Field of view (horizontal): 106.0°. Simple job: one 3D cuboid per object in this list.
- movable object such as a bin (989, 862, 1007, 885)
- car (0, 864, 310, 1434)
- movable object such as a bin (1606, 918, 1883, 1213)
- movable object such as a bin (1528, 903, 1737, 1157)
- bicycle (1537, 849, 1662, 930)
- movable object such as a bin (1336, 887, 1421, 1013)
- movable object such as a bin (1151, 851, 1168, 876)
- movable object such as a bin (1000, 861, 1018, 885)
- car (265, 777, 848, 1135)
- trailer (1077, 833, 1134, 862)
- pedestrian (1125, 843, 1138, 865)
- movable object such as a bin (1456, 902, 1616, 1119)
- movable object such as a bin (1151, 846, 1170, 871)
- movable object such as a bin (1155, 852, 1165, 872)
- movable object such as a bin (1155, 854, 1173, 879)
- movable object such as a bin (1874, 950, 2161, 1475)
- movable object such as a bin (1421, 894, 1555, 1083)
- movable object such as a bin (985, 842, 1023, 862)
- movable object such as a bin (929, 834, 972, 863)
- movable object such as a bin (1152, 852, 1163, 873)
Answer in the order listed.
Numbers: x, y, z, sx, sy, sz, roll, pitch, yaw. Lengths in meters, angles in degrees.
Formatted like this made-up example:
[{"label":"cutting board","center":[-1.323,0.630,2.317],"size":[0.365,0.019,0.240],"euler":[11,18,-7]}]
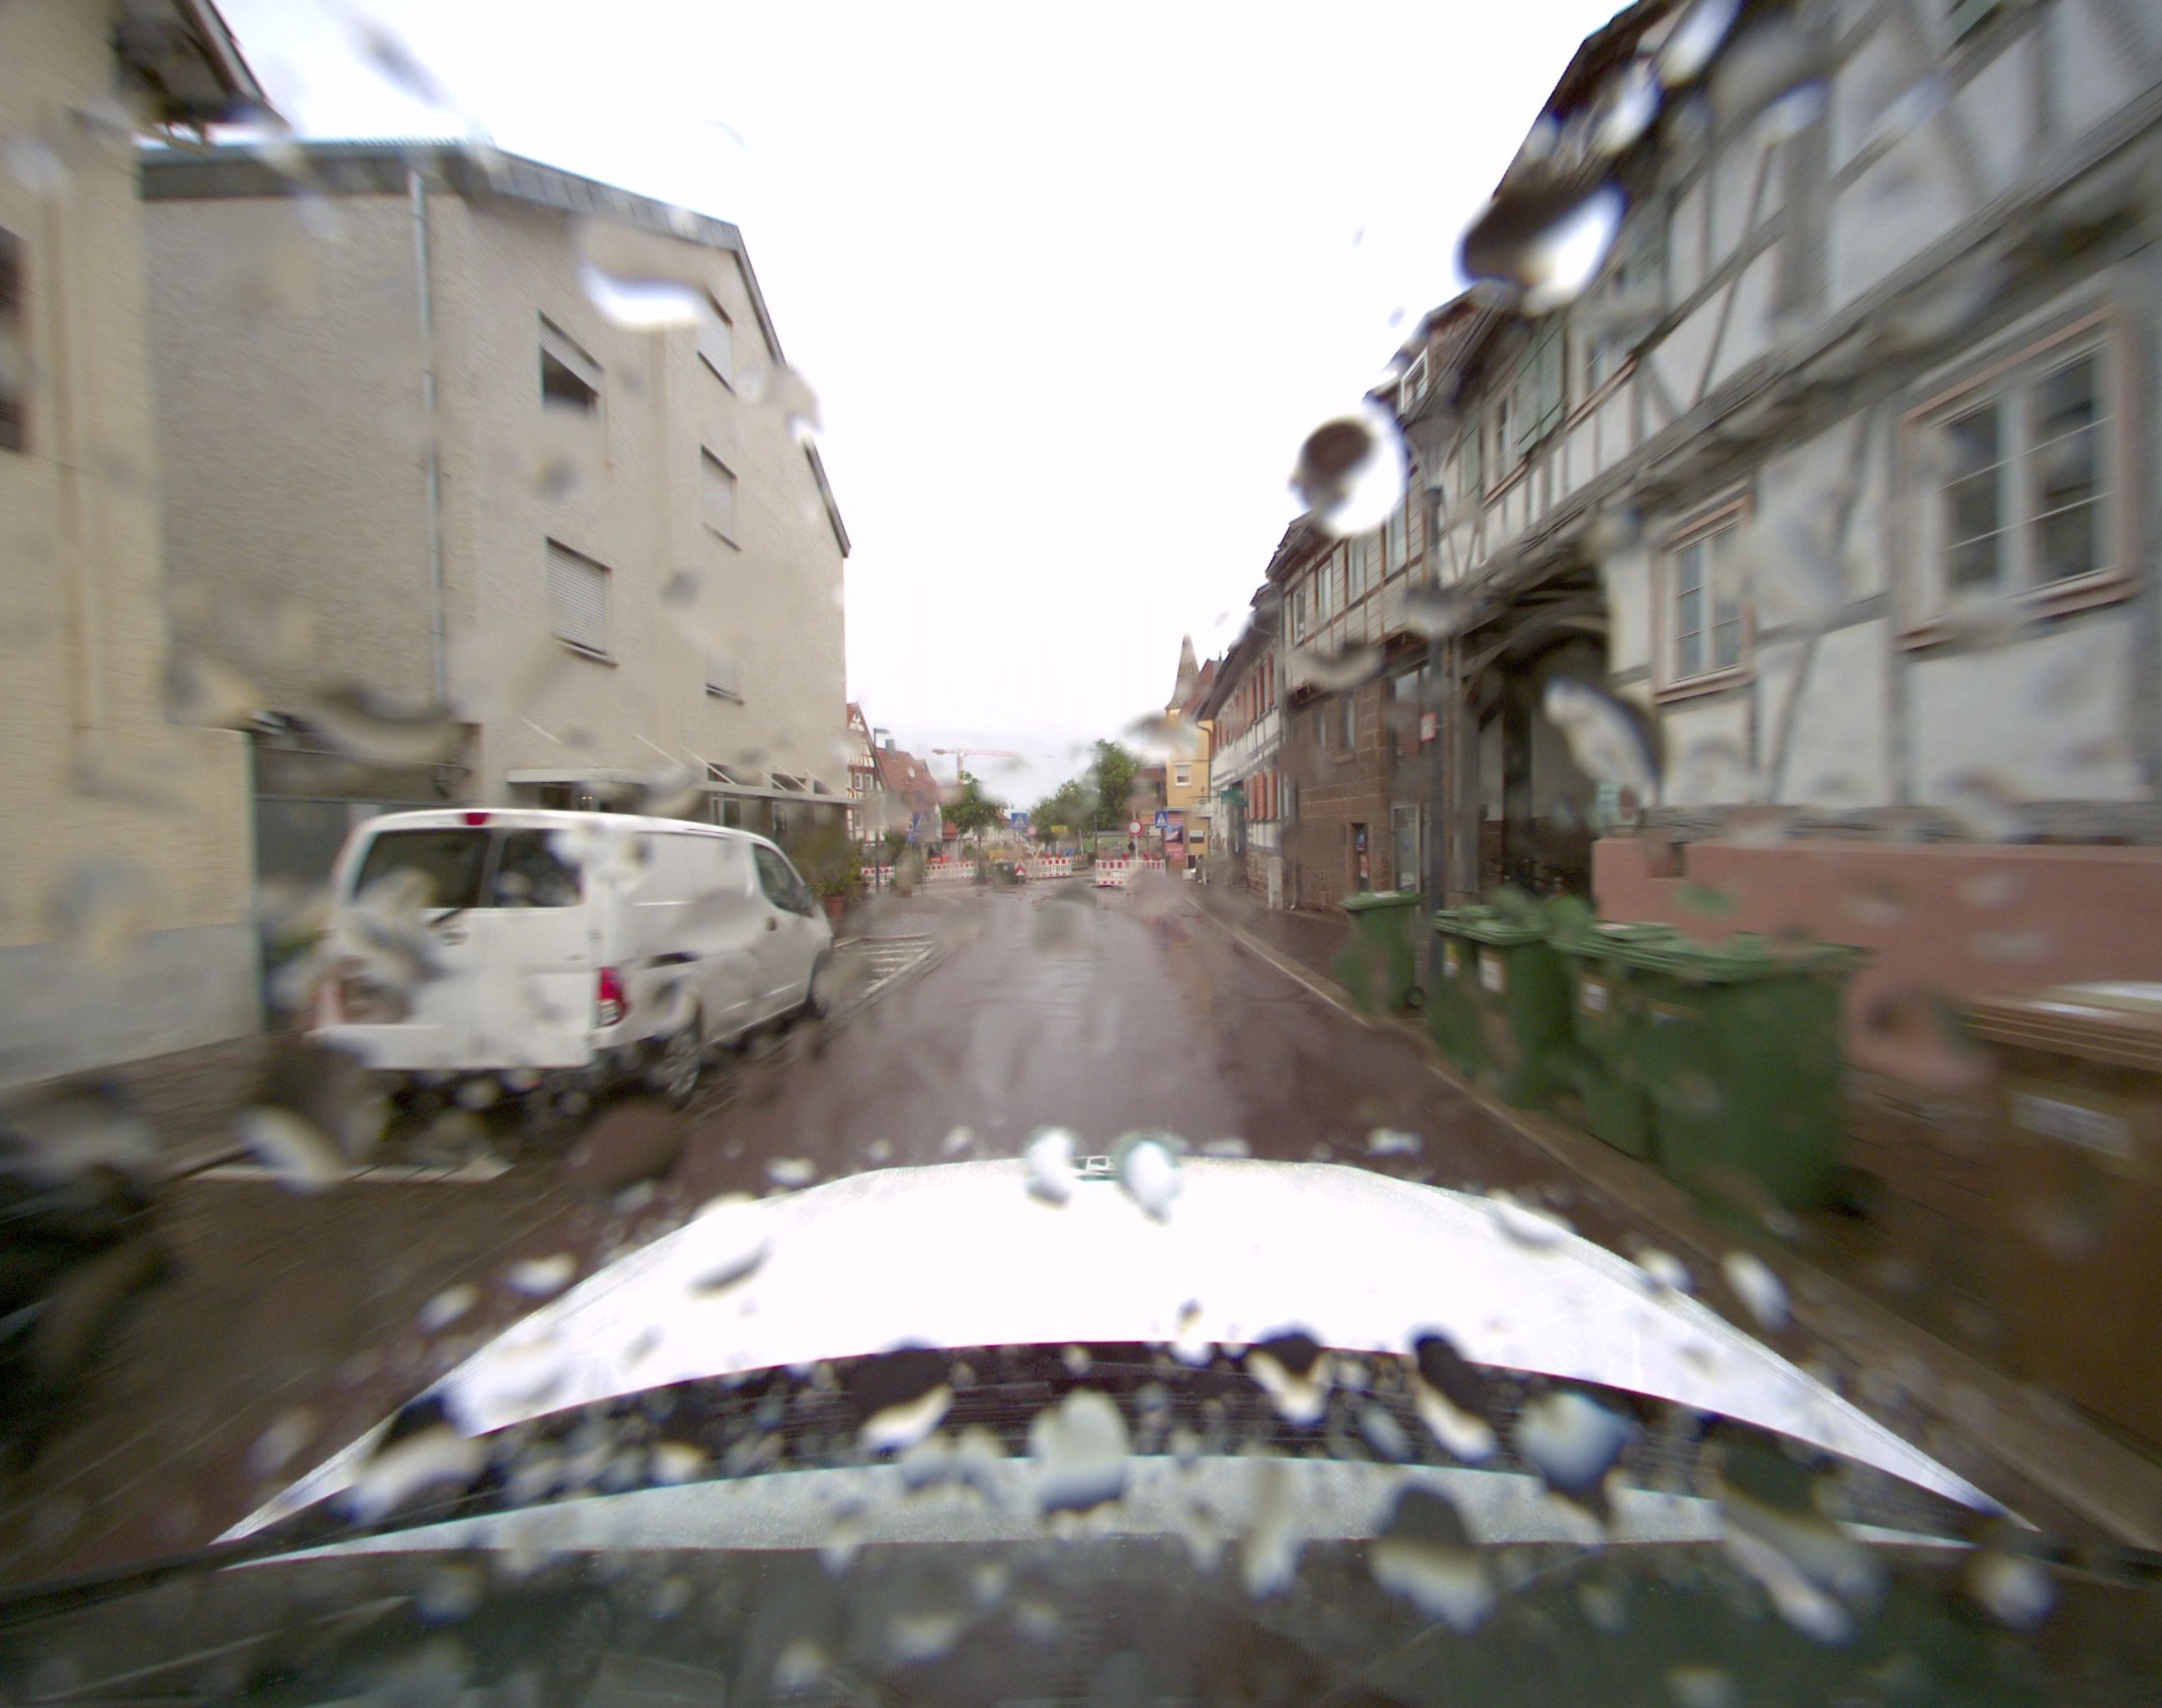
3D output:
[{"label":"movable object such as a bin","center":[-3.785,0.888,37.246],"size":[0.535,1.037,0.576],"euler":[-3,-2,35]},{"label":"car","center":[-3.452,0.718,0.858],"size":[1.676,1.389,3.823],"euler":[0,0,-2]},{"label":"movable object such as a bin","center":[2.762,0.841,3.453],"size":[0.667,1.081,0.587],"euler":[-1,-1,0]},{"label":"movable object such as a bin","center":[2.760,0.843,4.137],"size":[0.636,1.147,0.632],"euler":[0,-1,-1]},{"label":"bicycle","center":[7.065,0.473,11.116],"size":[1.397,0.882,0.292],"euler":[-9,1,1]},{"label":"movable object such as a bin","center":[2.811,0.893,7.745],"size":[0.607,1.127,0.599],"euler":[0,-1,1]},{"label":"movable object such as a bin","center":[3.464,0.434,35.992],"size":[0.611,1.066,0.542],"euler":[-2,-1,18]},{"label":"movable object such as a bin","center":[-3.260,0.853,36.906],"size":[0.538,1.033,0.538],"euler":[-3,-2,35]},{"label":"car","center":[-3.318,0.530,6.400],"size":[1.718,1.825,4.427],"euler":[0,0,-1]},{"label":"trailer","center":[2.485,-0.633,83.887],"size":[5.769,2.947,1.997],"euler":[0,-1,-4]},{"label":"pedestrian","center":[4.111,0.021,66.023],"size":[0.988,1.759,0.850],"euler":[0,-1,-5]},{"label":"movable object such as a bin","center":[2.636,0.874,4.779],"size":[0.634,1.147,0.605],"euler":[0,-1,6]},{"label":"movable object such as a bin","center":[5.221,0.300,53.212],"size":[1.059,1.512,1.245],"euler":[-4,0,9]},{"label":"movable object such as a bin","center":[4.671,0.447,48.351],"size":[0.513,1.128,0.581],"euler":[-4,1,5]},{"label":"movable object such as a bin","center":[3.591,0.539,35.257],"size":[0.677,1.065,0.539],"euler":[-2,2,-6]},{"label":"movable object such as a bin","center":[2.755,0.845,2.161],"size":[0.676,1.096,0.650],"euler":[1,0,-2]},{"label":"movable object such as a bin","center":[2.672,0.857,5.400],"size":[0.634,1.147,0.581],"euler":[0,-1,6]},{"label":"movable object such as a bin","center":[-7.769,-0.181,82.340],"size":[3.388,2.014,3.481],"euler":[0,0,2]},{"label":"movable object such as a bin","center":[-9.864,-0.409,61.770],"size":[1.893,2.014,4.011],"euler":[-3,-1,10]},{"label":"movable object such as a bin","center":[4.374,0.497,46.511],"size":[0.515,1.132,0.581],"euler":[-4,1,5]}]
